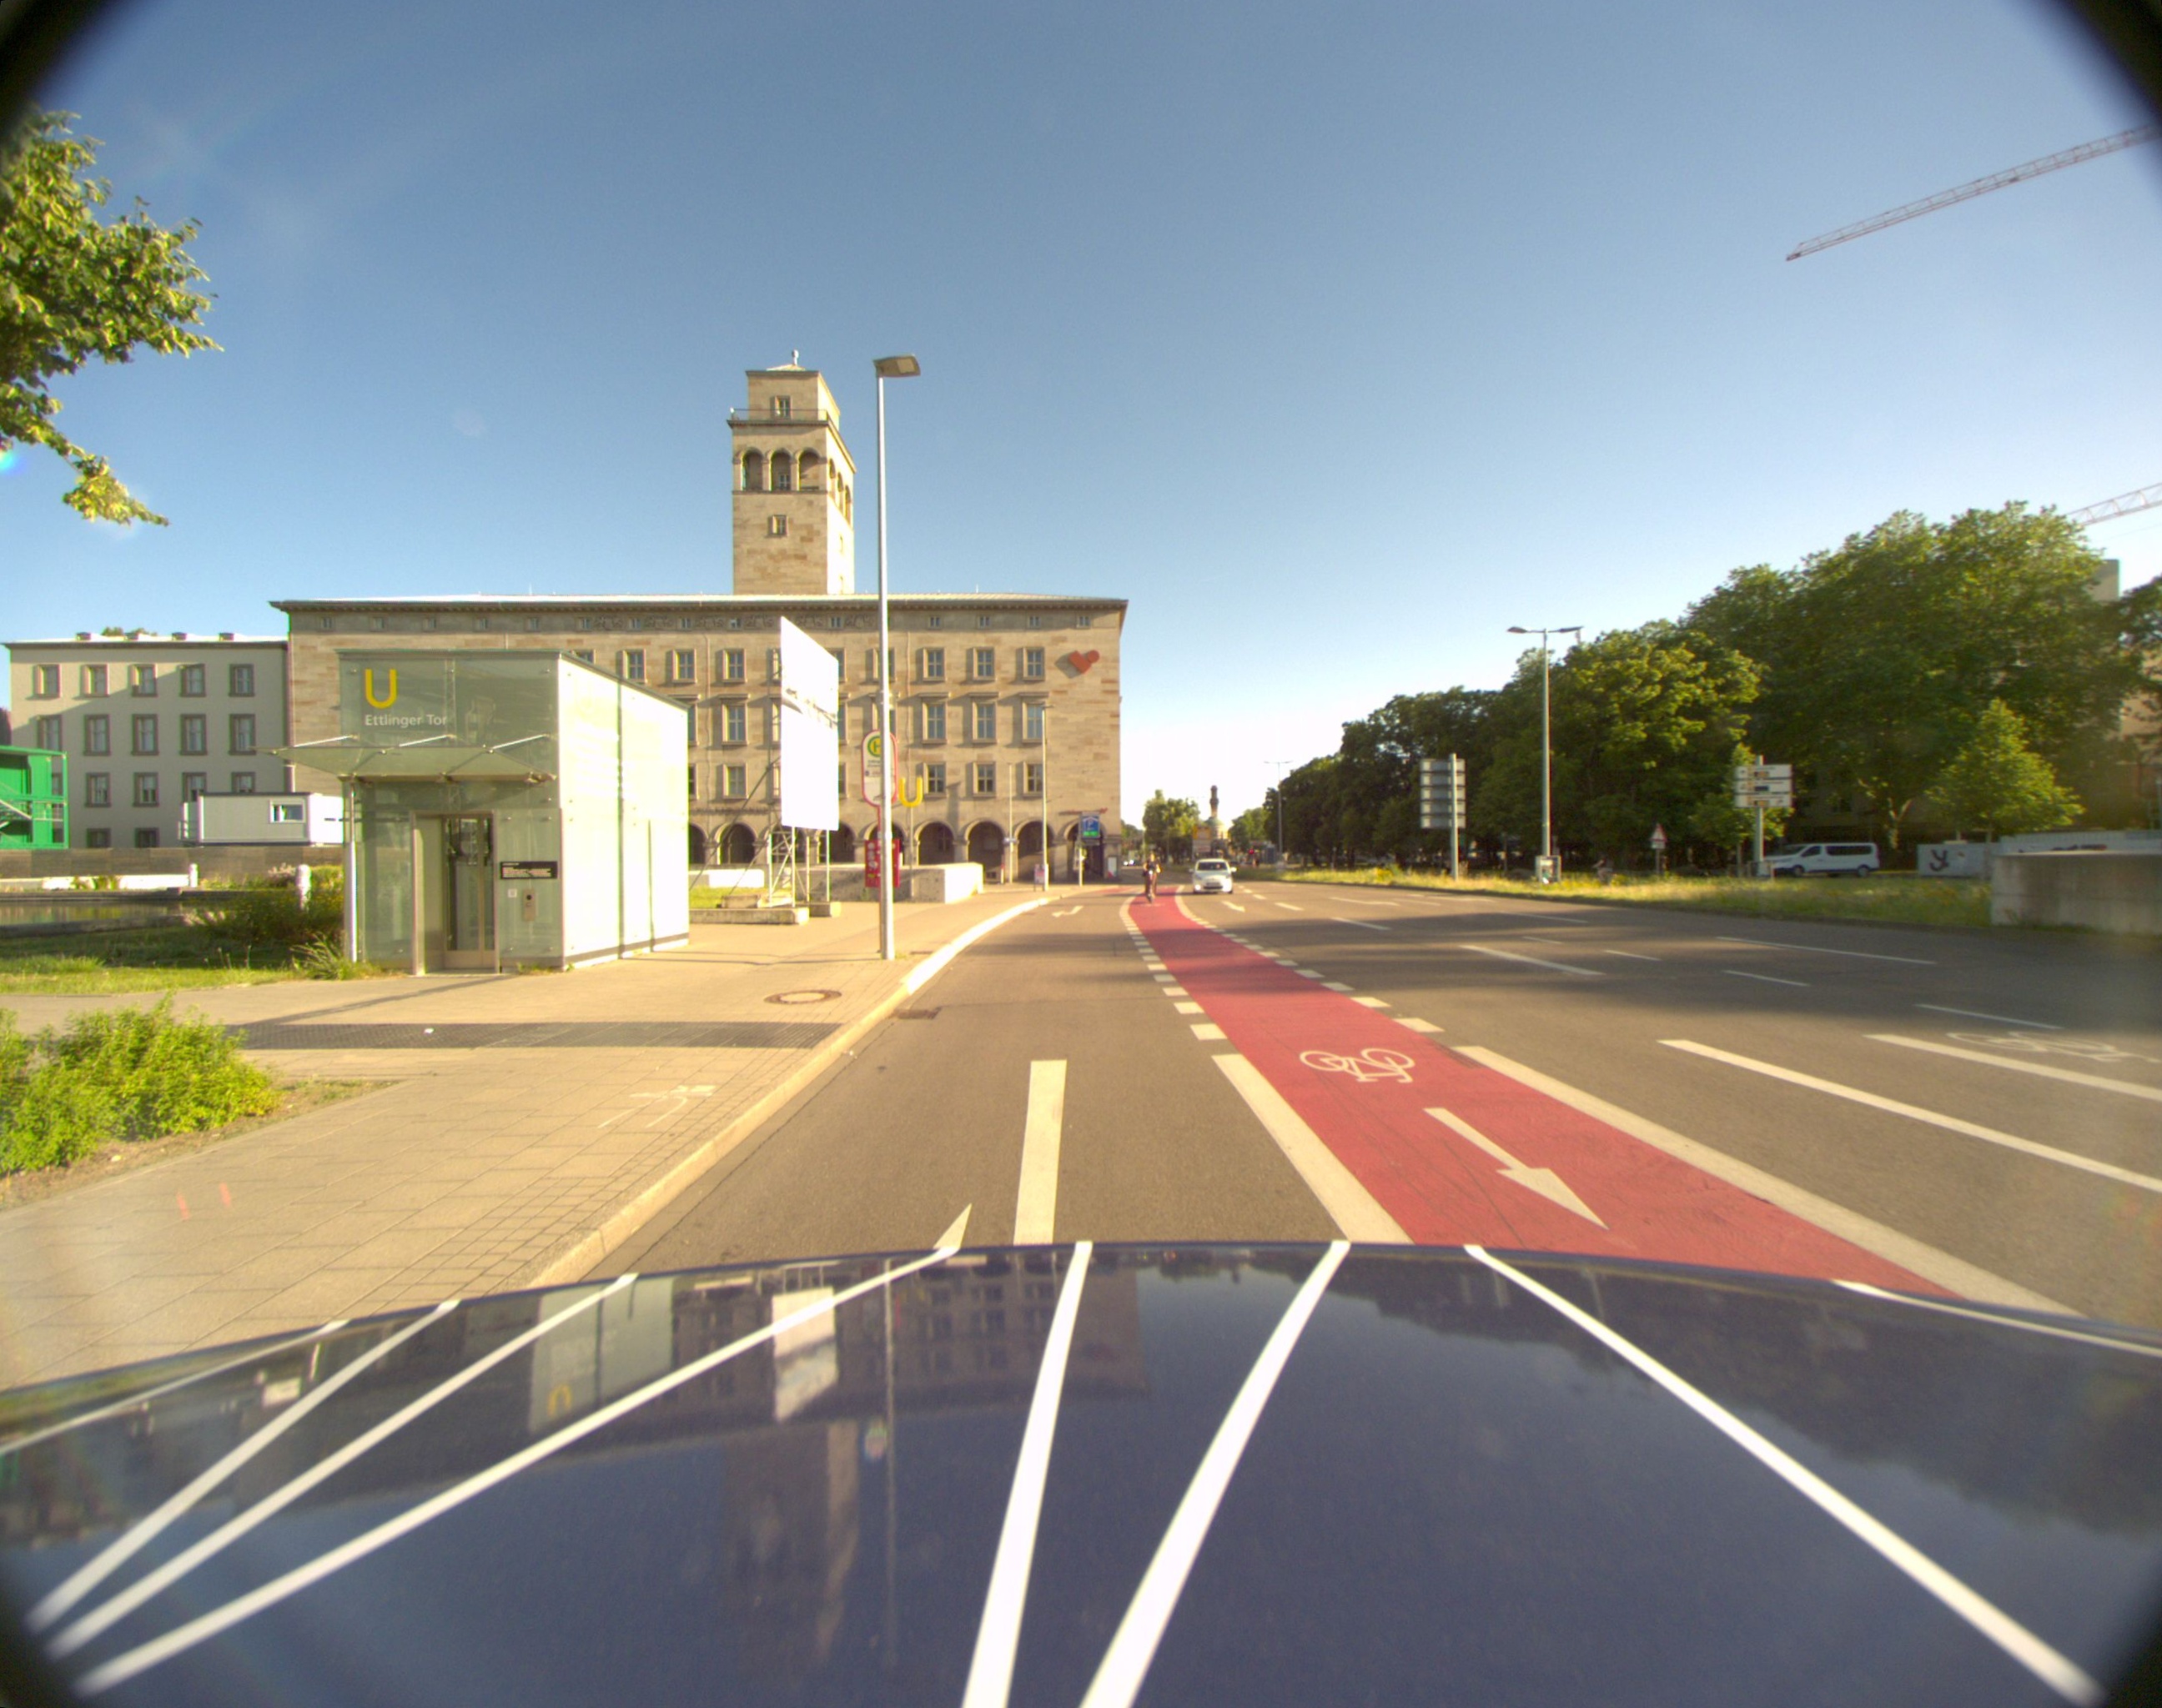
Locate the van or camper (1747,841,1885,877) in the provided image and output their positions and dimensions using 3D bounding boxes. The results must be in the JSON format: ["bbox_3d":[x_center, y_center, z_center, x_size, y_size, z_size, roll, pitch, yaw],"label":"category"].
[{"bbox_3d":[42.281,0.247,43.832,5.677,2.002,2.257,0,2,1],"label":"van or camper"}]

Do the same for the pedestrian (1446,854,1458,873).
[{"bbox_3d":[32.480,0.810,66.578,0.744,1.631,0.726,-1,0,3],"label":"pedestrian"}]

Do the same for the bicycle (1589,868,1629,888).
[{"bbox_3d":[24.180,1.089,34.828,0.613,0.856,1.952,-1,0,5],"label":"bicycle"}]

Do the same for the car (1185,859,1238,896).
[{"bbox_3d":[5.578,0.974,32.845,1.678,1.455,3.765,-2,0,1],"label":"car"}]

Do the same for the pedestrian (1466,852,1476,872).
[{"bbox_3d":[33.943,0.718,66.160,0.525,1.730,0.655,-1,0,3],"label":"pedestrian"}]

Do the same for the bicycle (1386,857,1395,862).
[{"bbox_3d":[54.878,0.931,134.694,0.770,0.884,1.605,0,0,-9],"label":"bicycle"}]

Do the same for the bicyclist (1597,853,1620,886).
[{"bbox_3d":[24.157,0.692,34.794,0.608,1.480,0.681,-1,0,5],"label":"bicyclist"}]

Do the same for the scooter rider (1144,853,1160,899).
[{"bbox_3d":[2.488,0.763,26.626,0.562,1.622,0.650,0,0,4],"label":"scooter rider"}]

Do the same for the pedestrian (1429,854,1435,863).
[{"bbox_3d":[53.126,0.715,114.986,0.733,1.332,0.599,-1,0,2],"label":"pedestrian"}]

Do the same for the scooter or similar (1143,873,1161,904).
[{"bbox_3d":[2.490,1.205,26.767,0.556,1.025,1.118,0,0,3],"label":"scooter or similar"}]

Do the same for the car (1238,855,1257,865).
[{"bbox_3d":[25.902,0.976,118.422,1.938,1.517,4.587,-1,0,0],"label":"car"}]

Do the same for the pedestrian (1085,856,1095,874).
[{"bbox_3d":[0.806,0.982,66.023,0.778,1.560,0.952,0,0,-2],"label":"pedestrian"}]

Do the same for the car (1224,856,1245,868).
[{"bbox_3d":[21.261,1.079,105.293,1.999,1.555,4.060,0,0,0],"label":"car"}]

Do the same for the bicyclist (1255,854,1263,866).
[{"bbox_3d":[24.087,0.760,102.770,0.749,1.581,1.201,0,2,-3],"label":"bicyclist"}]

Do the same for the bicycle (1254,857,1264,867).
[{"bbox_3d":[24.078,1.017,102.862,0.760,1.268,2.256,0,2,-4],"label":"bicycle"}]

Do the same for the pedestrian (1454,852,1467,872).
[{"bbox_3d":[33.320,0.732,66.679,0.773,1.730,0.761,-1,0,3],"label":"pedestrian"}]

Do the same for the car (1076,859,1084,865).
[{"bbox_3d":[-0.172,1.981,188.244,1.999,1.564,4.549,0,0,0],"label":"car"}]
